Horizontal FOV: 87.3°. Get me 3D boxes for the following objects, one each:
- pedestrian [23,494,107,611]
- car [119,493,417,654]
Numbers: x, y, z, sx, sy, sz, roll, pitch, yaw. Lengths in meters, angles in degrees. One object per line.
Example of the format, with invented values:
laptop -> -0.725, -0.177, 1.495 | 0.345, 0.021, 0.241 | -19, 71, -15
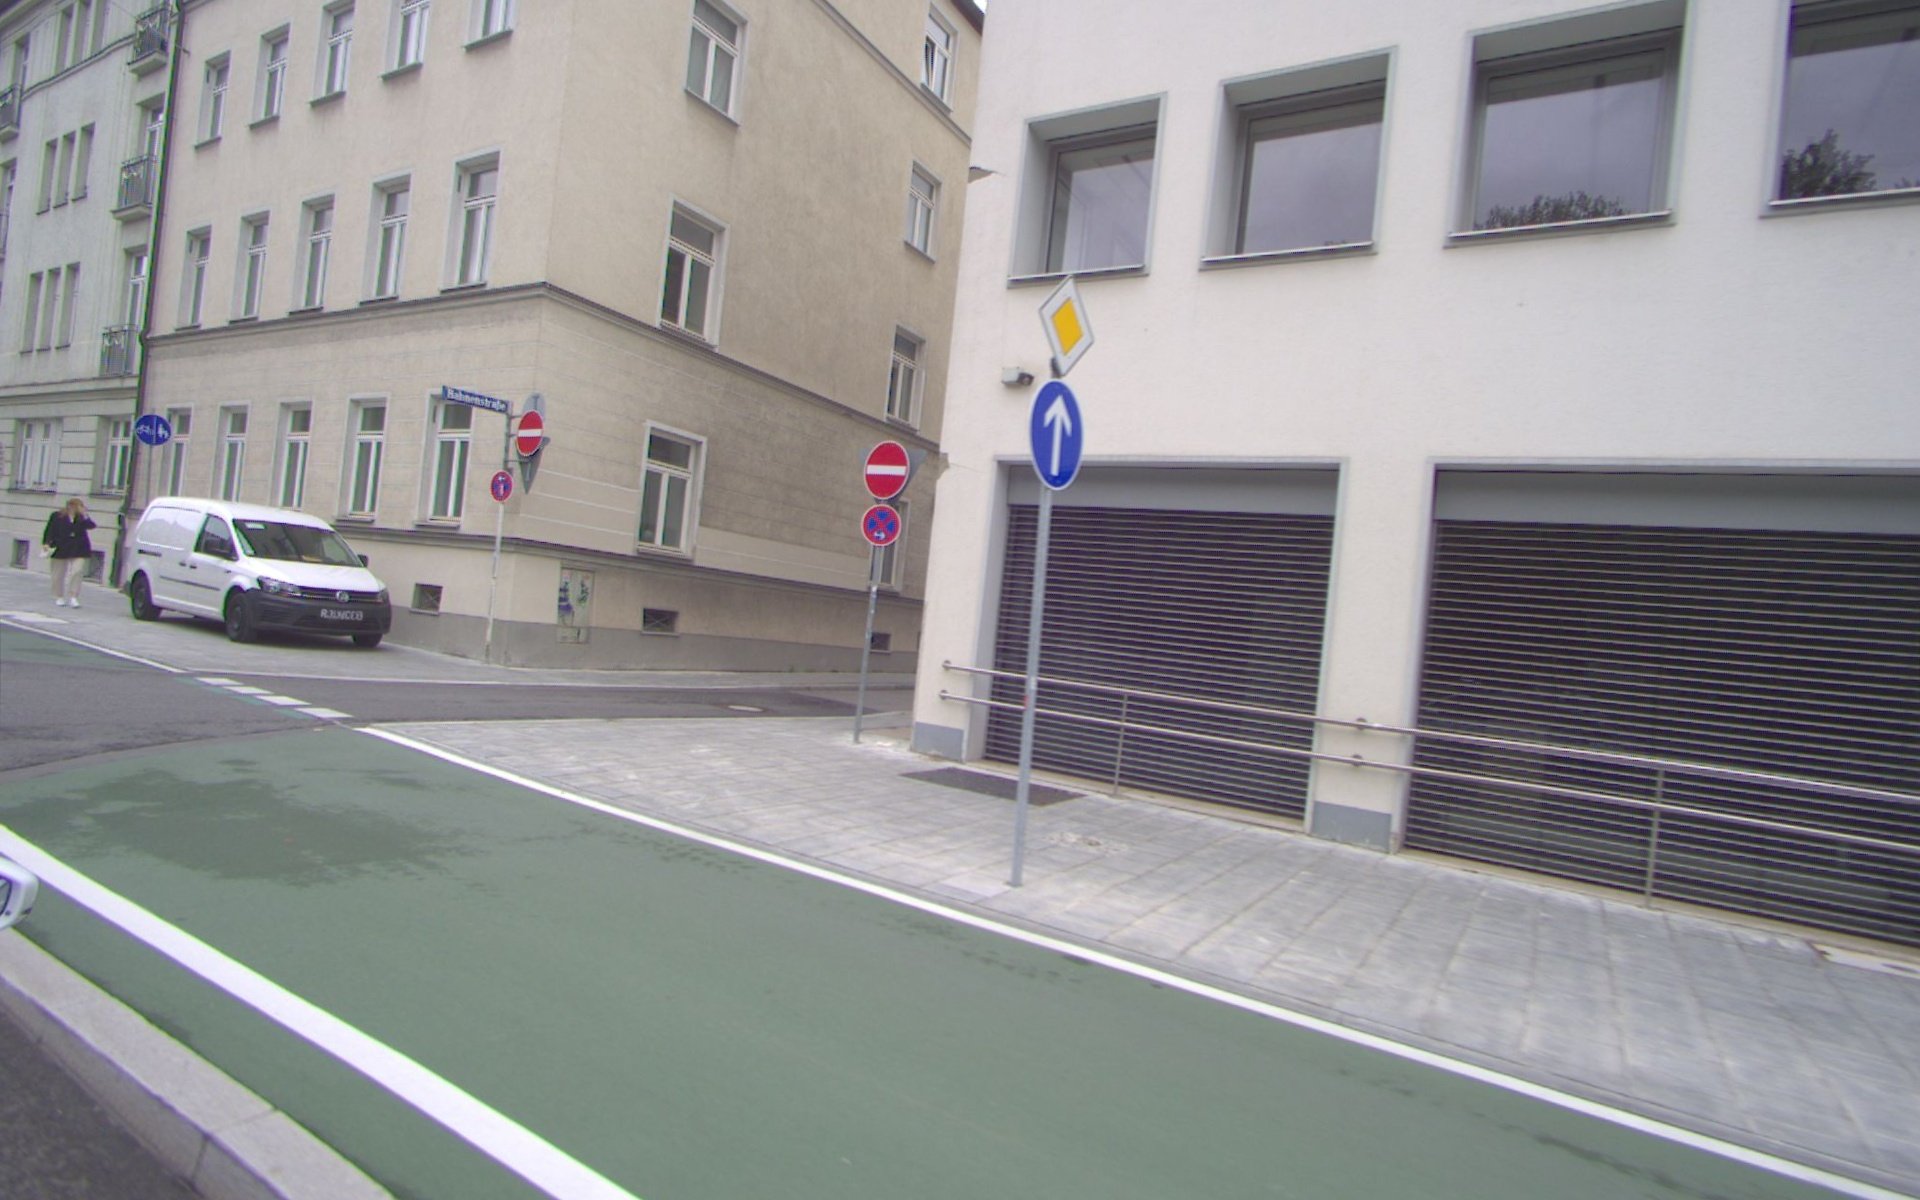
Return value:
pedestrian -> -13.538, -0.713, 15.223 | 0.725, 1.656, 0.665 | 6, 1, 31
car -> -9.747, -0.404, 14.078 | 4.362, 1.771, 1.735 | 6, 0, 32
